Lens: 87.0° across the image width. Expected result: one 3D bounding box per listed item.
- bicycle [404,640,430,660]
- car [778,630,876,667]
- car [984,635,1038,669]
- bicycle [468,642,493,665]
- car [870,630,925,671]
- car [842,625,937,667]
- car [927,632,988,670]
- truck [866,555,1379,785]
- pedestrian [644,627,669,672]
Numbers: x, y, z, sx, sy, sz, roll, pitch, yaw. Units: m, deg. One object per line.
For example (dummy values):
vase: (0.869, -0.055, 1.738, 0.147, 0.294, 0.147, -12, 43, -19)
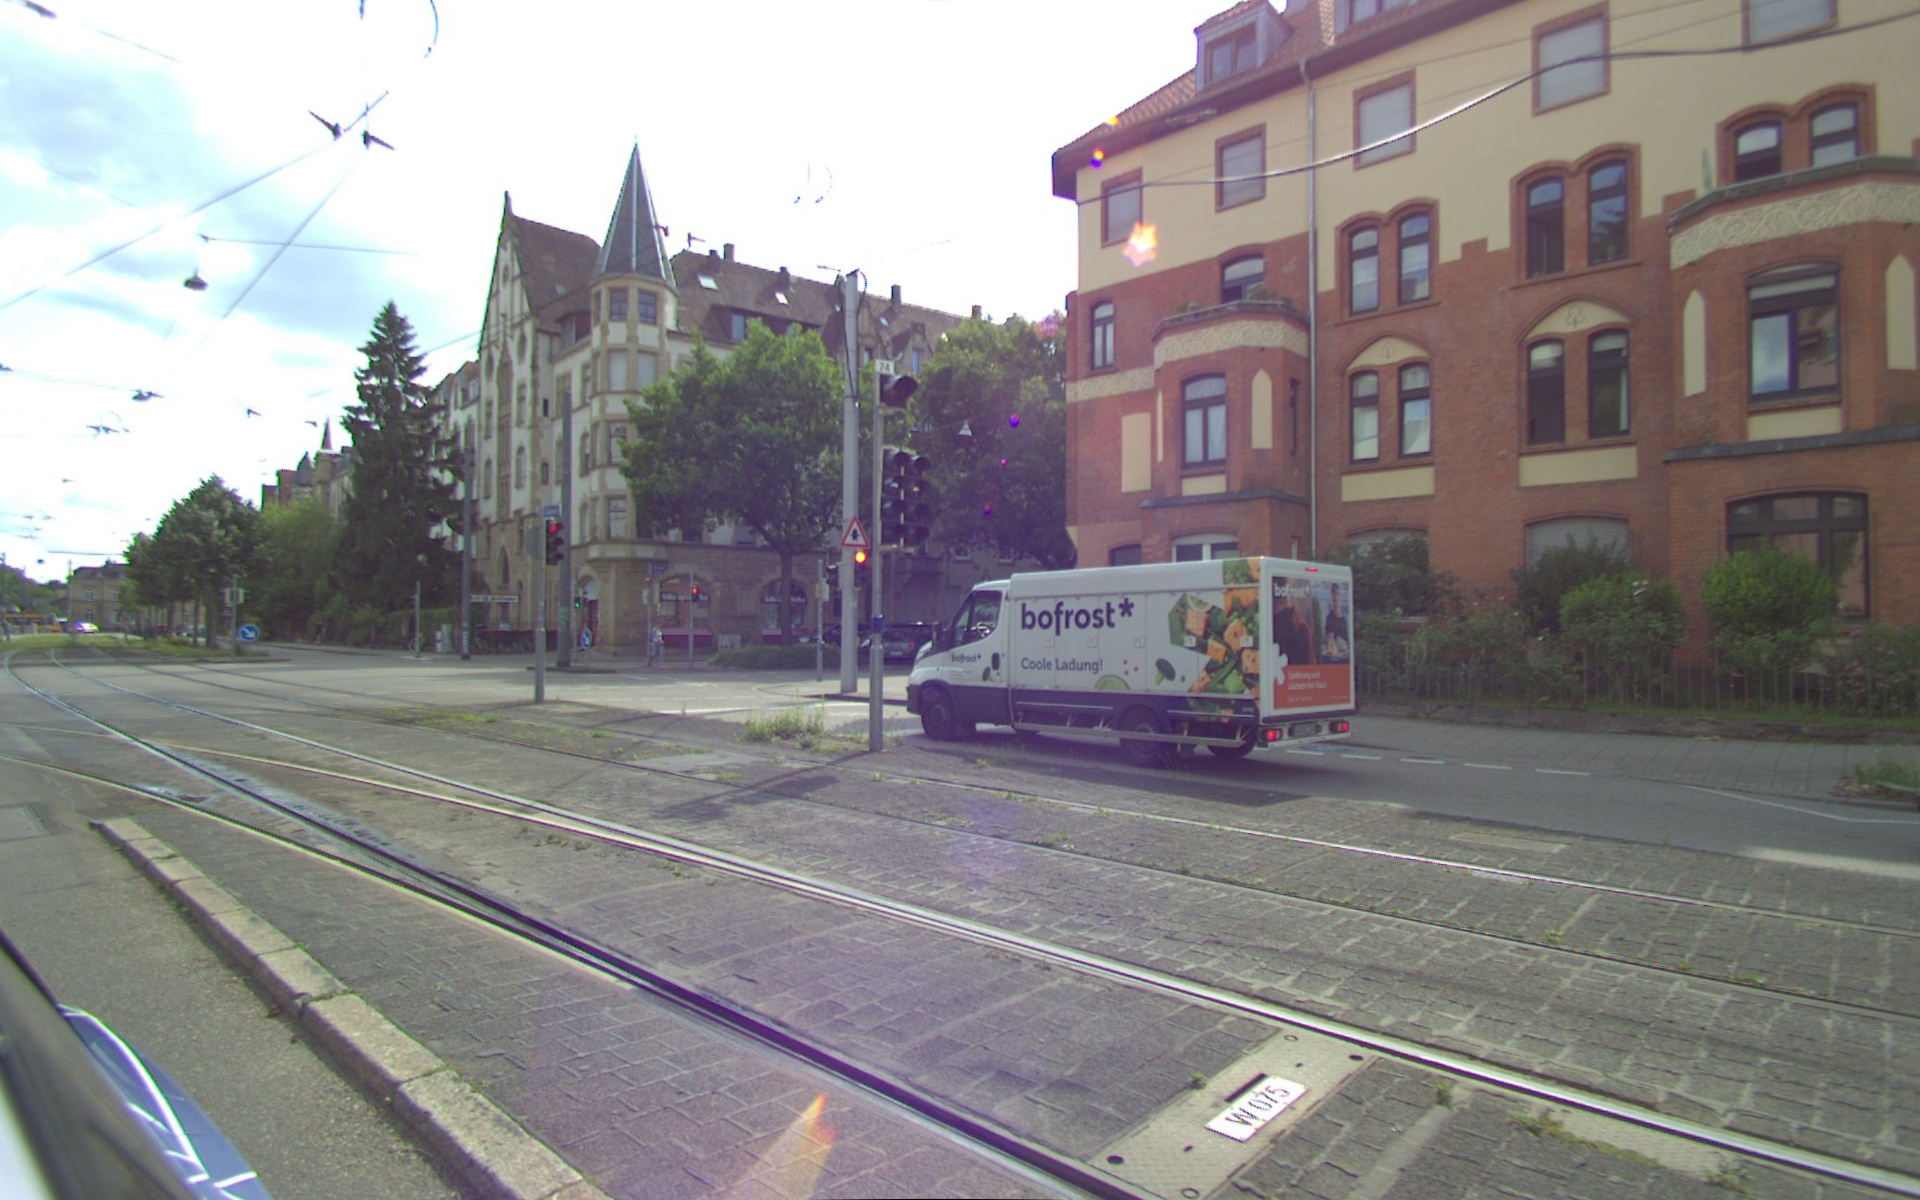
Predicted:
bicycle: (-28.257, 2.601, 52.629, 0.616, 0.979, 2.338, 2, -3, -43)
car: (-6.291, 2.294, 47.991, 4.200, 1.698, 2.003, 2, -3, -41)
car: (2.318, 2.264, 45.035, 1.611, 1.409, 3.550, 1, -2, 17)
bicycle: (-22.667, 2.527, 47.842, 0.583, 0.979, 1.631, 2, -1, -43)
car: (-2.592, 2.094, 42.899, 1.973, 1.557, 4.226, 1, -1, 1)
car: (-3.247, 2.135, 46.838, 3.935, 1.835, 2.004, 3, -3, -38)
car: (-0.054, 2.155, 43.391, 1.633, 1.557, 3.710, 0, -2, 17)
truck: (1.655, 0.793, 13.010, 2.158, 2.231, 6.619, 3, -3, -42)
pedestrian: (-11.814, 1.927, 39.440, 0.919, 1.754, 0.771, 0, -2, -15)
